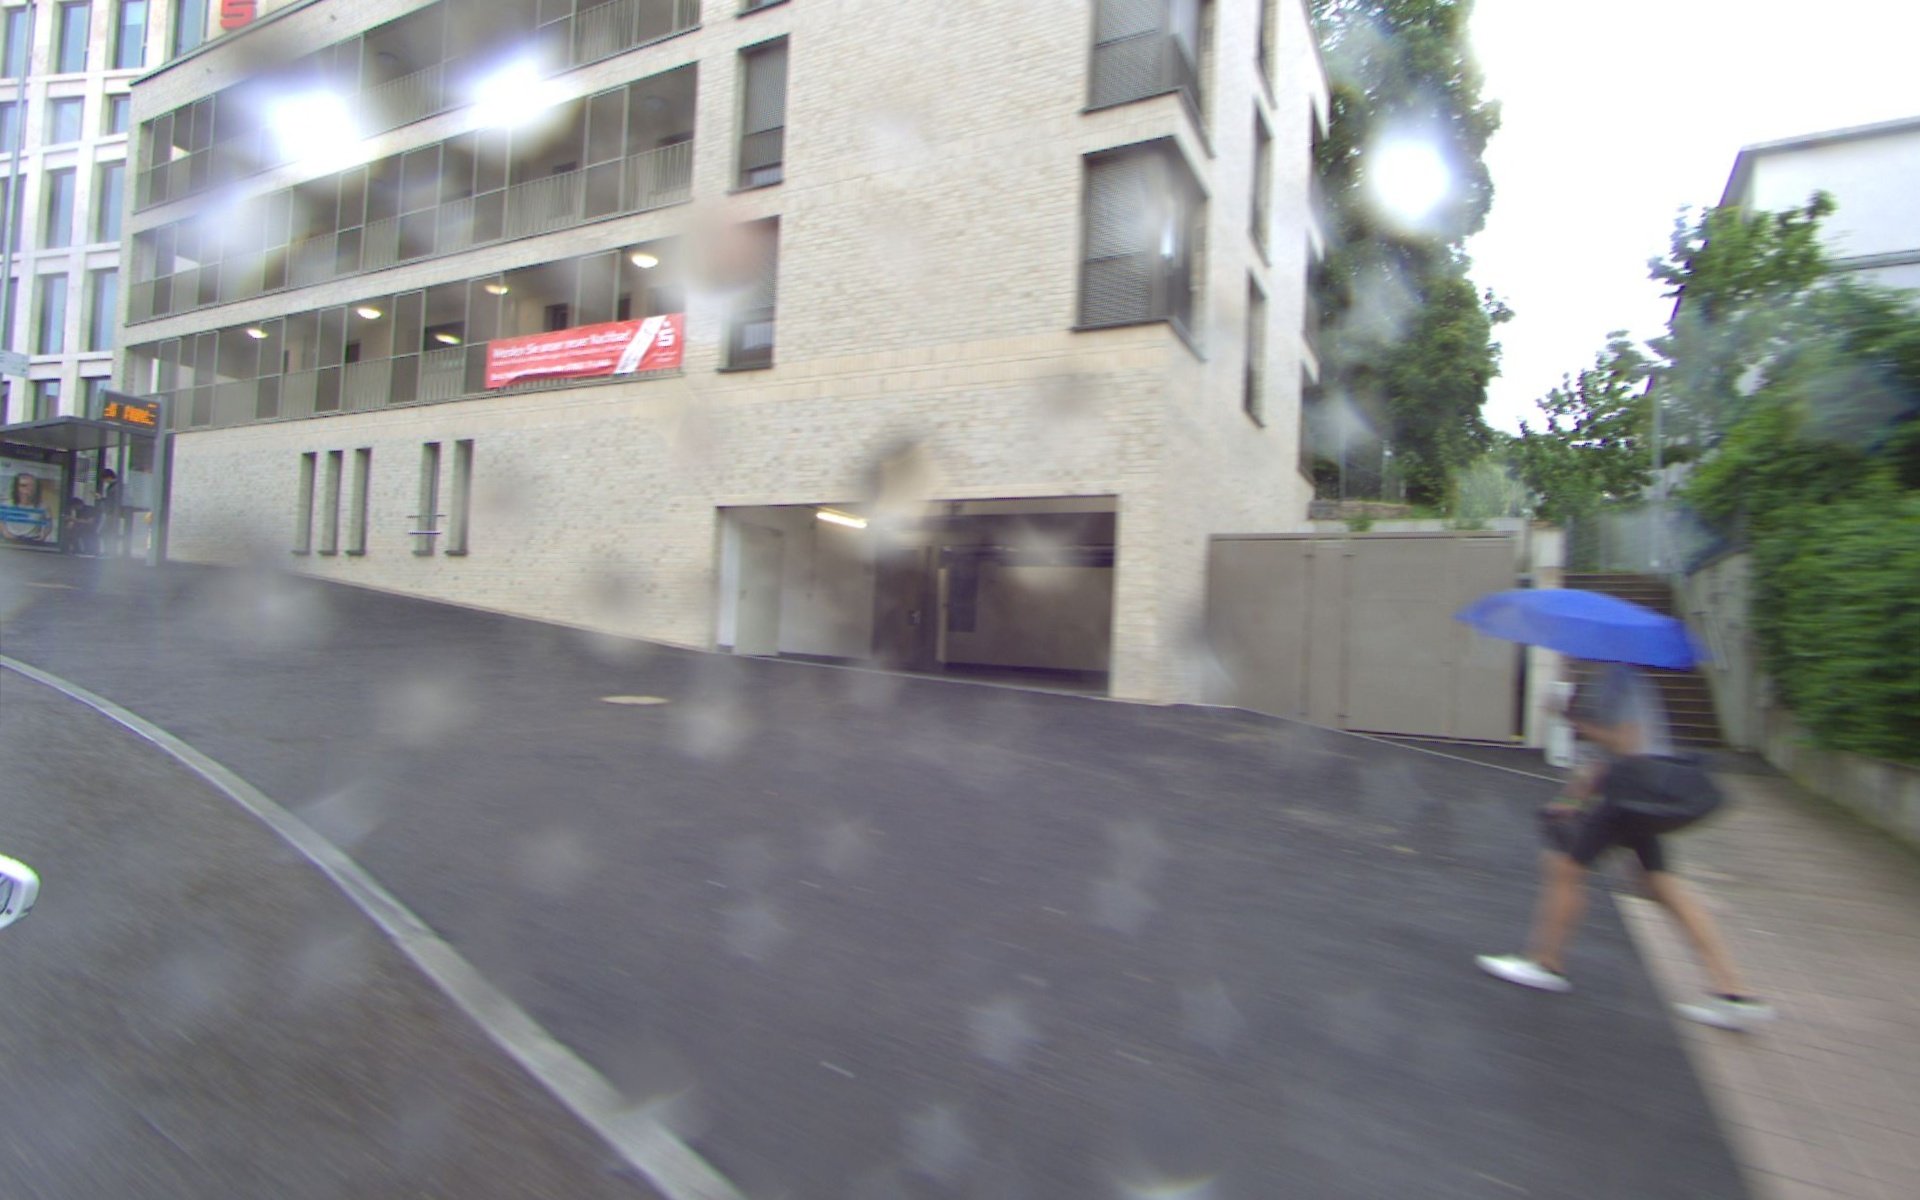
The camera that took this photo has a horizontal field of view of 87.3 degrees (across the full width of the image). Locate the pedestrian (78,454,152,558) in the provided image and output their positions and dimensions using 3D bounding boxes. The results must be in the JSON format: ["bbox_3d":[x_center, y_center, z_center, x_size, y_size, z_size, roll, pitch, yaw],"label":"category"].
[{"bbox_3d":[-17.096,-1.897,20.358,1.004,1.965,0.782,7,2,31],"label":"pedestrian"}]

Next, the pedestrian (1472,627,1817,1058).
[{"bbox_3d":[2.949,0.948,4.423,1.021,1.563,0.735,7,3,34],"label":"pedestrian"}]

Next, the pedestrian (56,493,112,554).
[{"bbox_3d":[-18.262,-1.596,20.981,0.624,1.177,0.672,6,2,31],"label":"pedestrian"}]
